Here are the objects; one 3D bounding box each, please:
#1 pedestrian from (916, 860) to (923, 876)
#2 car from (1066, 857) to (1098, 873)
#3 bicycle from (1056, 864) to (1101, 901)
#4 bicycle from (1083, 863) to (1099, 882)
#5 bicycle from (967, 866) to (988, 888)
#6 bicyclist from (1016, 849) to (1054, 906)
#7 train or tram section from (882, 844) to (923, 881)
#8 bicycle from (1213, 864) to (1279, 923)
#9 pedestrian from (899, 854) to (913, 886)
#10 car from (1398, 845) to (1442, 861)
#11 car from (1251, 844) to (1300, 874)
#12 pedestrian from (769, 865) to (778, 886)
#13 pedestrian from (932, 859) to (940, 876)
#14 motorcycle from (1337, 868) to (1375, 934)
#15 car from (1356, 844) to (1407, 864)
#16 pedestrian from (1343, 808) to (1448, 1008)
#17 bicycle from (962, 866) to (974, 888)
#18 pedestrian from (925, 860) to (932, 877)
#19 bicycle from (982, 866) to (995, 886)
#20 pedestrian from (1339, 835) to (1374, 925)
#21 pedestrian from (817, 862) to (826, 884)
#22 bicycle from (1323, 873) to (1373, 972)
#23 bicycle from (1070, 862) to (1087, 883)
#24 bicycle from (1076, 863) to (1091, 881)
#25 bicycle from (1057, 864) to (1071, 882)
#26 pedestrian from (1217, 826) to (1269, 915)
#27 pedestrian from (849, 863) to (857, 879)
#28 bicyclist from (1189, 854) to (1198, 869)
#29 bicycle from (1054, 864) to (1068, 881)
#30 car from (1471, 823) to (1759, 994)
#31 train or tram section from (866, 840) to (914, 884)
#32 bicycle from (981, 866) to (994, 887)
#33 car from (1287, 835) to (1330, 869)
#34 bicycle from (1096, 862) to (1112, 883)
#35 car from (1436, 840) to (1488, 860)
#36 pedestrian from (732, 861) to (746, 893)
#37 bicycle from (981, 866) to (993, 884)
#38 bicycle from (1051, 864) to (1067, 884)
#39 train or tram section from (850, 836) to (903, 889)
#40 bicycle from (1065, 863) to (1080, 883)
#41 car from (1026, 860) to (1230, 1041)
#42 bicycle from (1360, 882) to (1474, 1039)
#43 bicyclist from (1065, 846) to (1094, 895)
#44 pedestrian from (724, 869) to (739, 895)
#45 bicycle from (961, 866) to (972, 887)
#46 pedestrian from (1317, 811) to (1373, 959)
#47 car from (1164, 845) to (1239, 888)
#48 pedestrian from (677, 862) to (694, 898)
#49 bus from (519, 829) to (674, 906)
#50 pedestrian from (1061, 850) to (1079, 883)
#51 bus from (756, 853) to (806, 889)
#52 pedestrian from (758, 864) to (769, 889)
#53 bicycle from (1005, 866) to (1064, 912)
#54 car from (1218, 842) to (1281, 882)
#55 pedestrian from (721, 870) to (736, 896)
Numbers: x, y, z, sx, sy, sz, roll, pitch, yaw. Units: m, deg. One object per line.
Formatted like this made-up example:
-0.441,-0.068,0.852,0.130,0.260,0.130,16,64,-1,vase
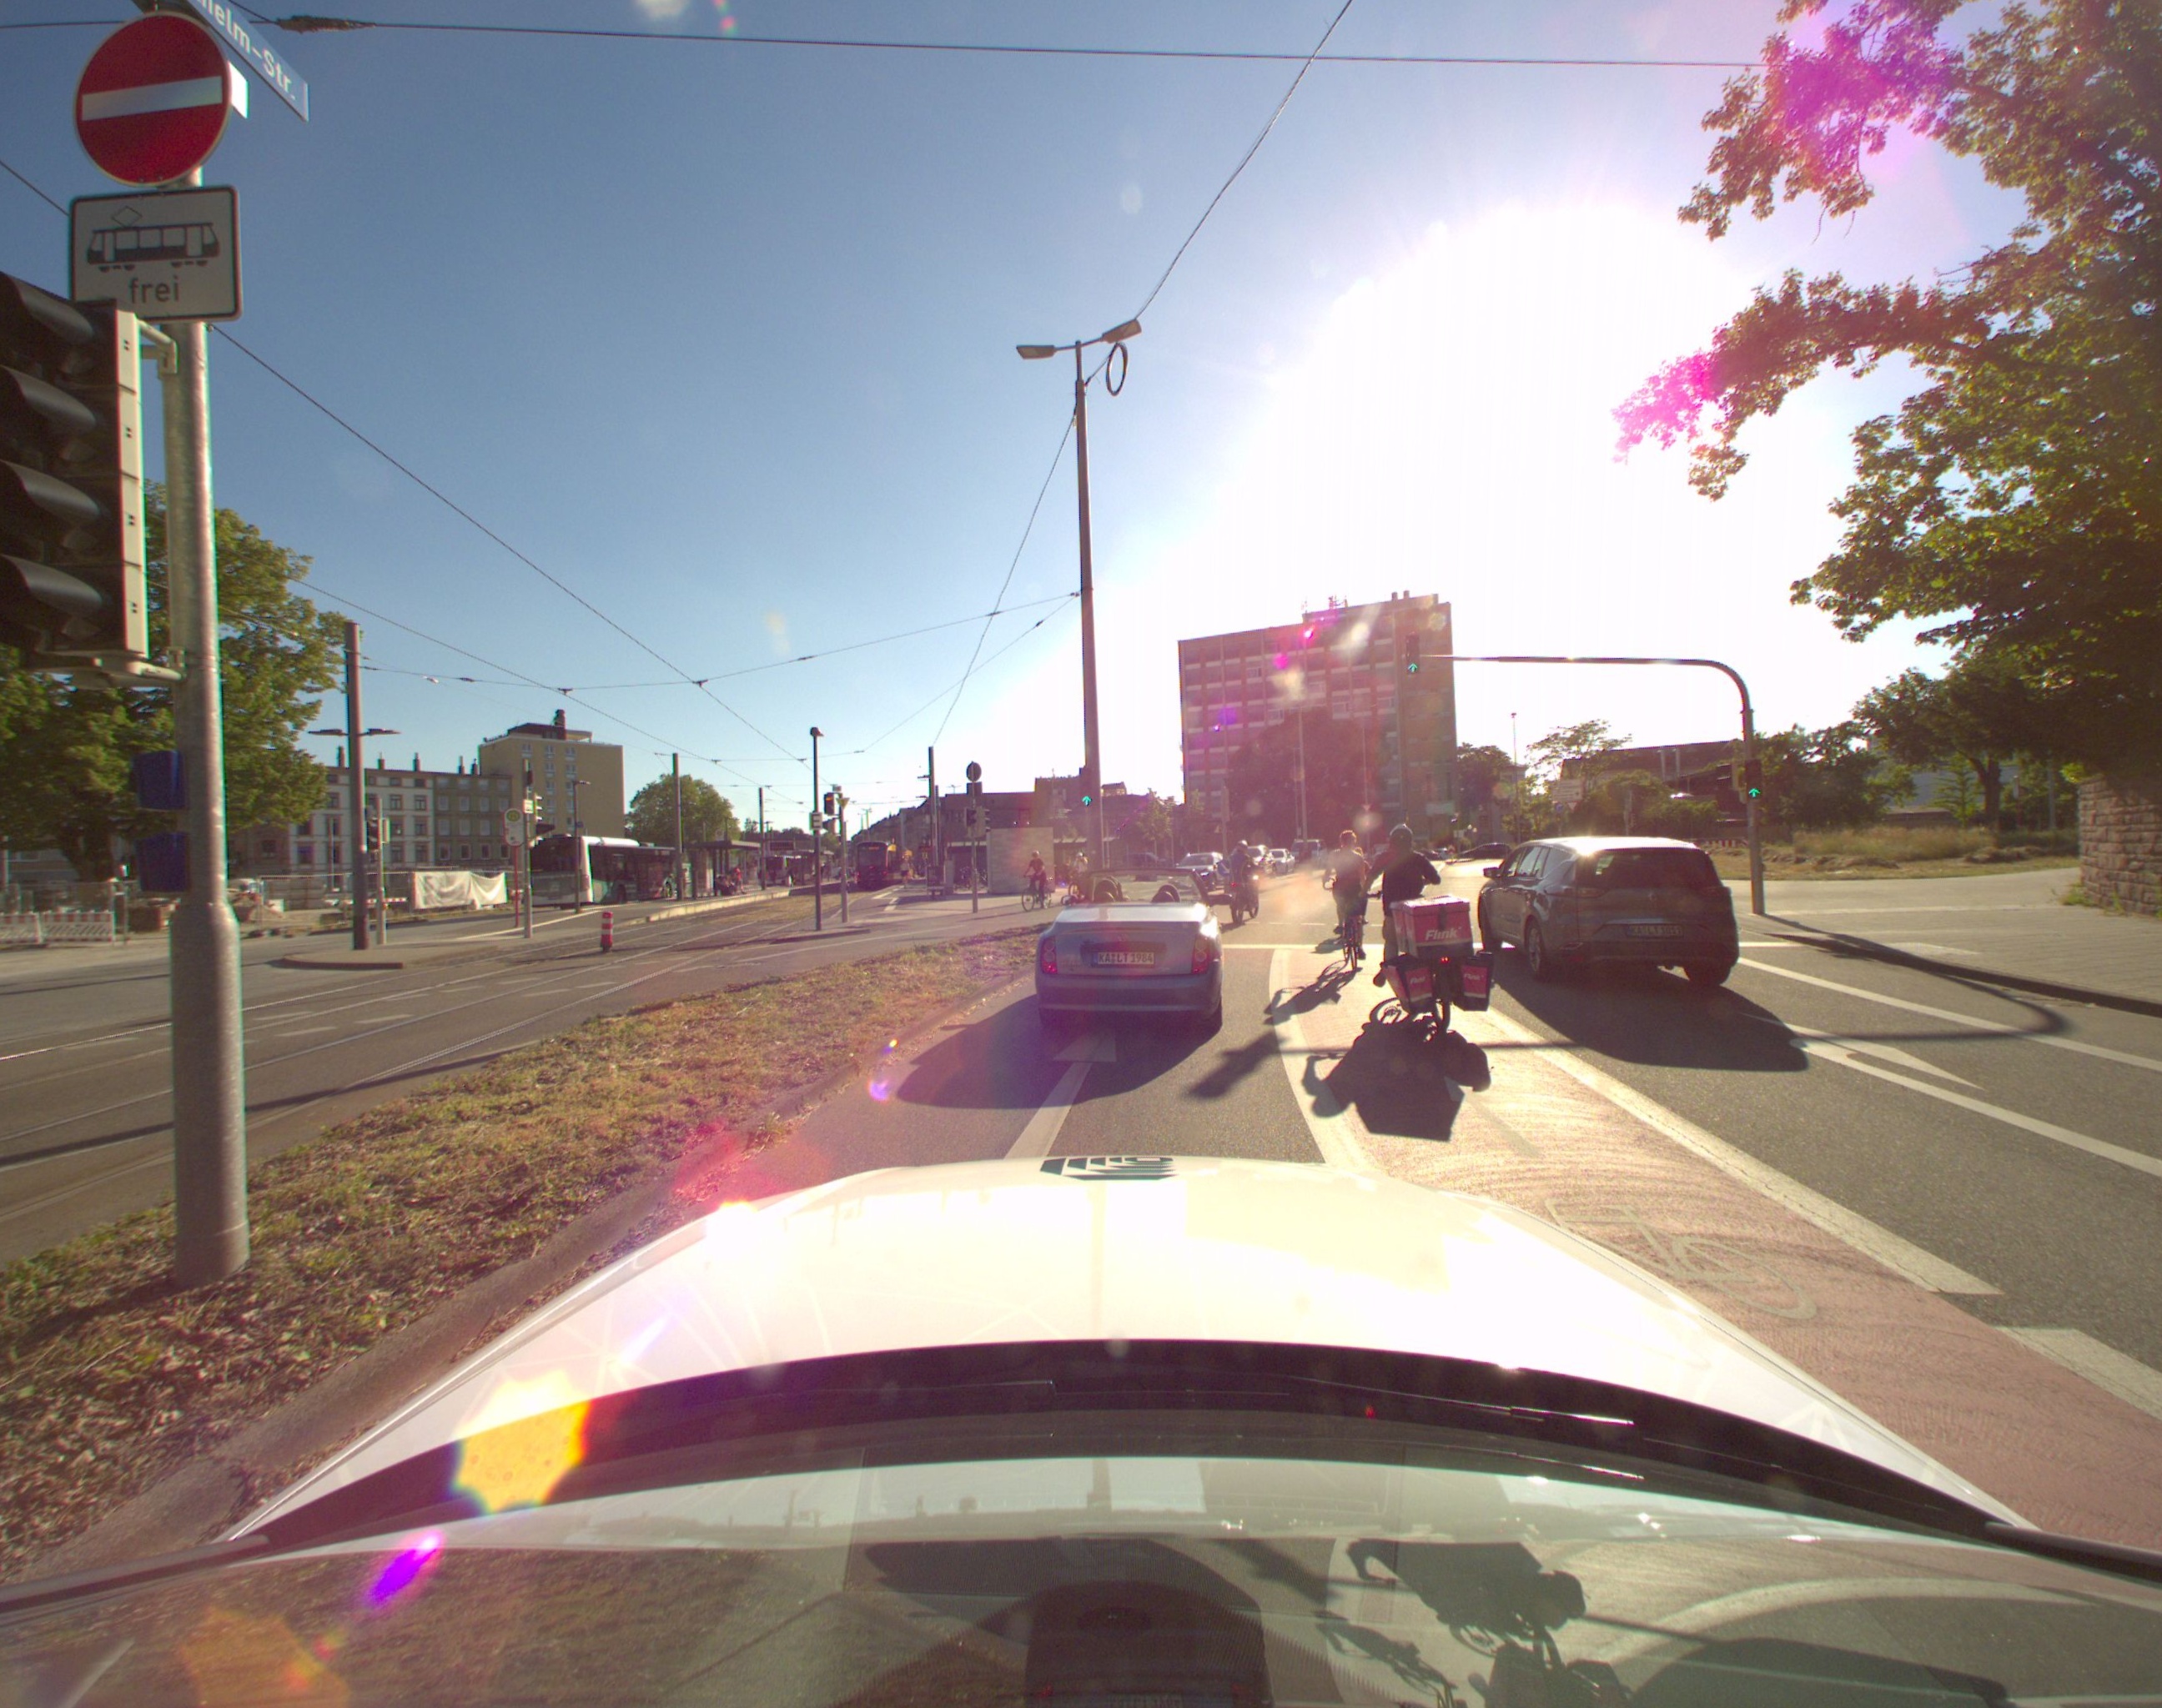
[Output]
-18.008,1.563,90.656,0.604,1.749,0.830,-2,-1,-6,pedestrian
0.095,1.205,88.767,1.652,1.560,3.559,-2,0,-37,car
-0.052,0.982,28.330,0.668,1.180,2.195,-3,0,24,bicycle
0.597,1.071,47.824,0.607,1.115,1.890,0,-1,-10,bicycle
-5.429,1.217,42.849,0.603,1.115,1.901,-1,-1,8,bicycle
-1.413,0.712,24.893,0.702,1.657,0.906,-5,-2,24,bicyclist
-18.539,0.844,85.350,3.037,3.597,12.021,0,-1,-7,train or tram section
3.663,0.825,17.876,0.602,1.191,2.430,-1,-1,32,bicycle
-9.773,0.885,45.418,0.639,1.749,0.569,-2,-1,-17,pedestrian
34.205,-0.123,82.198,3.949,1.574,1.746,-1,-1,29,car
10.992,0.274,45.913,1.678,1.560,4.004,-3,0,28,car
-25.403,1.766,67.231,0.571,1.749,0.636,-2,-1,-17,pedestrian
-15.638,1.457,87.770,0.639,1.749,0.732,-2,-1,-17,pedestrian
5.095,0.818,15.053,0.608,1.097,2.372,-1,-1,19,motorcycle
26.374,0.030,71.486,4.005,1.530,1.791,-3,-1,-24,car
3.108,0.506,8.150,0.801,1.869,0.959,-1,-1,10,pedestrian
-6.174,1.246,44.473,0.607,1.115,1.890,0,-1,-10,bicycle
-16.431,1.543,87.748,0.639,1.749,0.732,-2,-1,-17,pedestrian
-5.334,1.240,46.848,0.607,1.115,1.890,0,-1,-10,bicycle
5.084,0.473,15.031,0.583,1.598,1.030,-1,-1,19,pedestrian
-21.714,1.579,68.166,0.641,1.749,0.567,-2,-1,-25,pedestrian
3.500,0.841,10.762,0.559,1.151,1.958,-1,-1,17,bicycle
-0.140,1.030,45.522,0.607,1.115,1.890,0,-1,-10,bicycle
0.173,1.155,51.524,0.607,1.115,1.890,0,-1,-10,bicycle
-1.062,1.180,51.351,0.607,1.115,1.890,0,-1,-10,bicycle
3.534,0.358,17.731,0.825,1.869,0.926,-1,-1,31,pedestrian
-25.794,1.964,92.180,0.732,1.749,0.638,-2,-1,-6,pedestrian
12.060,0.764,87.109,0.744,1.598,0.593,-1,-1,32,bicyclist
-1.303,1.212,53.326,0.607,1.115,1.890,0,-1,-10,bicycle
6.405,0.556,10.398,1.817,1.689,4.386,-1,-1,16,car
-17.011,0.731,73.378,3.010,3.597,12.166,0,-1,-8,train or tram section
-5.139,1.208,44.779,0.607,1.115,1.890,0,-1,-10,bicycle
14.576,-0.164,51.968,1.891,1.945,4.733,-4,-1,24,car
1.278,1.021,45.790,0.606,1.115,1.892,0,-1,-7,bicycle
34.610,-0.373,74.042,3.959,1.530,1.811,-3,-1,13,car
-19.072,1.290,45.460,0.571,1.749,0.636,-2,-1,-15,pedestrian
-5.859,1.304,50.738,0.607,1.115,1.890,0,-1,-10,bicycle
-1.214,1.096,45.406,0.607,1.115,1.890,0,-1,-10,bicycle
-15.213,0.603,61.335,2.881,3.597,12.158,0,-1,-10,train or tram section
-0.502,1.108,47.463,0.607,1.115,1.890,0,-1,-10,bicycle
0.687,0.788,8.669,1.650,1.441,4.164,-1,-1,9,car
3.060,0.875,7.622,0.550,1.171,2.380,-1,-1,12,bicycle
-0.059,0.568,28.347,0.702,1.657,0.747,-3,-1,24,bicyclist
-18.694,1.488,43.584,0.571,1.346,0.636,-2,-1,-15,pedestrian
-6.521,1.266,46.408,0.606,1.115,1.891,0,-1,-8,bicycle
3.501,0.399,10.829,0.654,1.869,0.876,-1,-1,17,pedestrian
4.789,0.470,31.962,1.720,1.574,3.948,-1,-1,28,car
-19.570,1.284,40.298,0.536,1.749,0.559,-2,-1,-4,pedestrian
-22.335,0.585,38.346,2.652,3.135,9.617,0,-1,-8,bus
-0.646,0.691,46.767,0.901,1.869,0.684,0,-1,-11,pedestrian
-29.626,1.615,80.926,2.723,3.274,13.409,0,-1,-12,bus
-22.813,1.612,58.588,0.641,1.749,0.567,-2,-1,-25,pedestrian
-1.389,1.034,24.887,0.668,1.250,2.471,-5,-1,24,bicycle
8.022,0.341,38.481,1.745,1.706,4.557,-4,-1,26,car
-18.565,1.535,42.897,0.617,1.340,0.438,-2,-1,-15,pedestrian
